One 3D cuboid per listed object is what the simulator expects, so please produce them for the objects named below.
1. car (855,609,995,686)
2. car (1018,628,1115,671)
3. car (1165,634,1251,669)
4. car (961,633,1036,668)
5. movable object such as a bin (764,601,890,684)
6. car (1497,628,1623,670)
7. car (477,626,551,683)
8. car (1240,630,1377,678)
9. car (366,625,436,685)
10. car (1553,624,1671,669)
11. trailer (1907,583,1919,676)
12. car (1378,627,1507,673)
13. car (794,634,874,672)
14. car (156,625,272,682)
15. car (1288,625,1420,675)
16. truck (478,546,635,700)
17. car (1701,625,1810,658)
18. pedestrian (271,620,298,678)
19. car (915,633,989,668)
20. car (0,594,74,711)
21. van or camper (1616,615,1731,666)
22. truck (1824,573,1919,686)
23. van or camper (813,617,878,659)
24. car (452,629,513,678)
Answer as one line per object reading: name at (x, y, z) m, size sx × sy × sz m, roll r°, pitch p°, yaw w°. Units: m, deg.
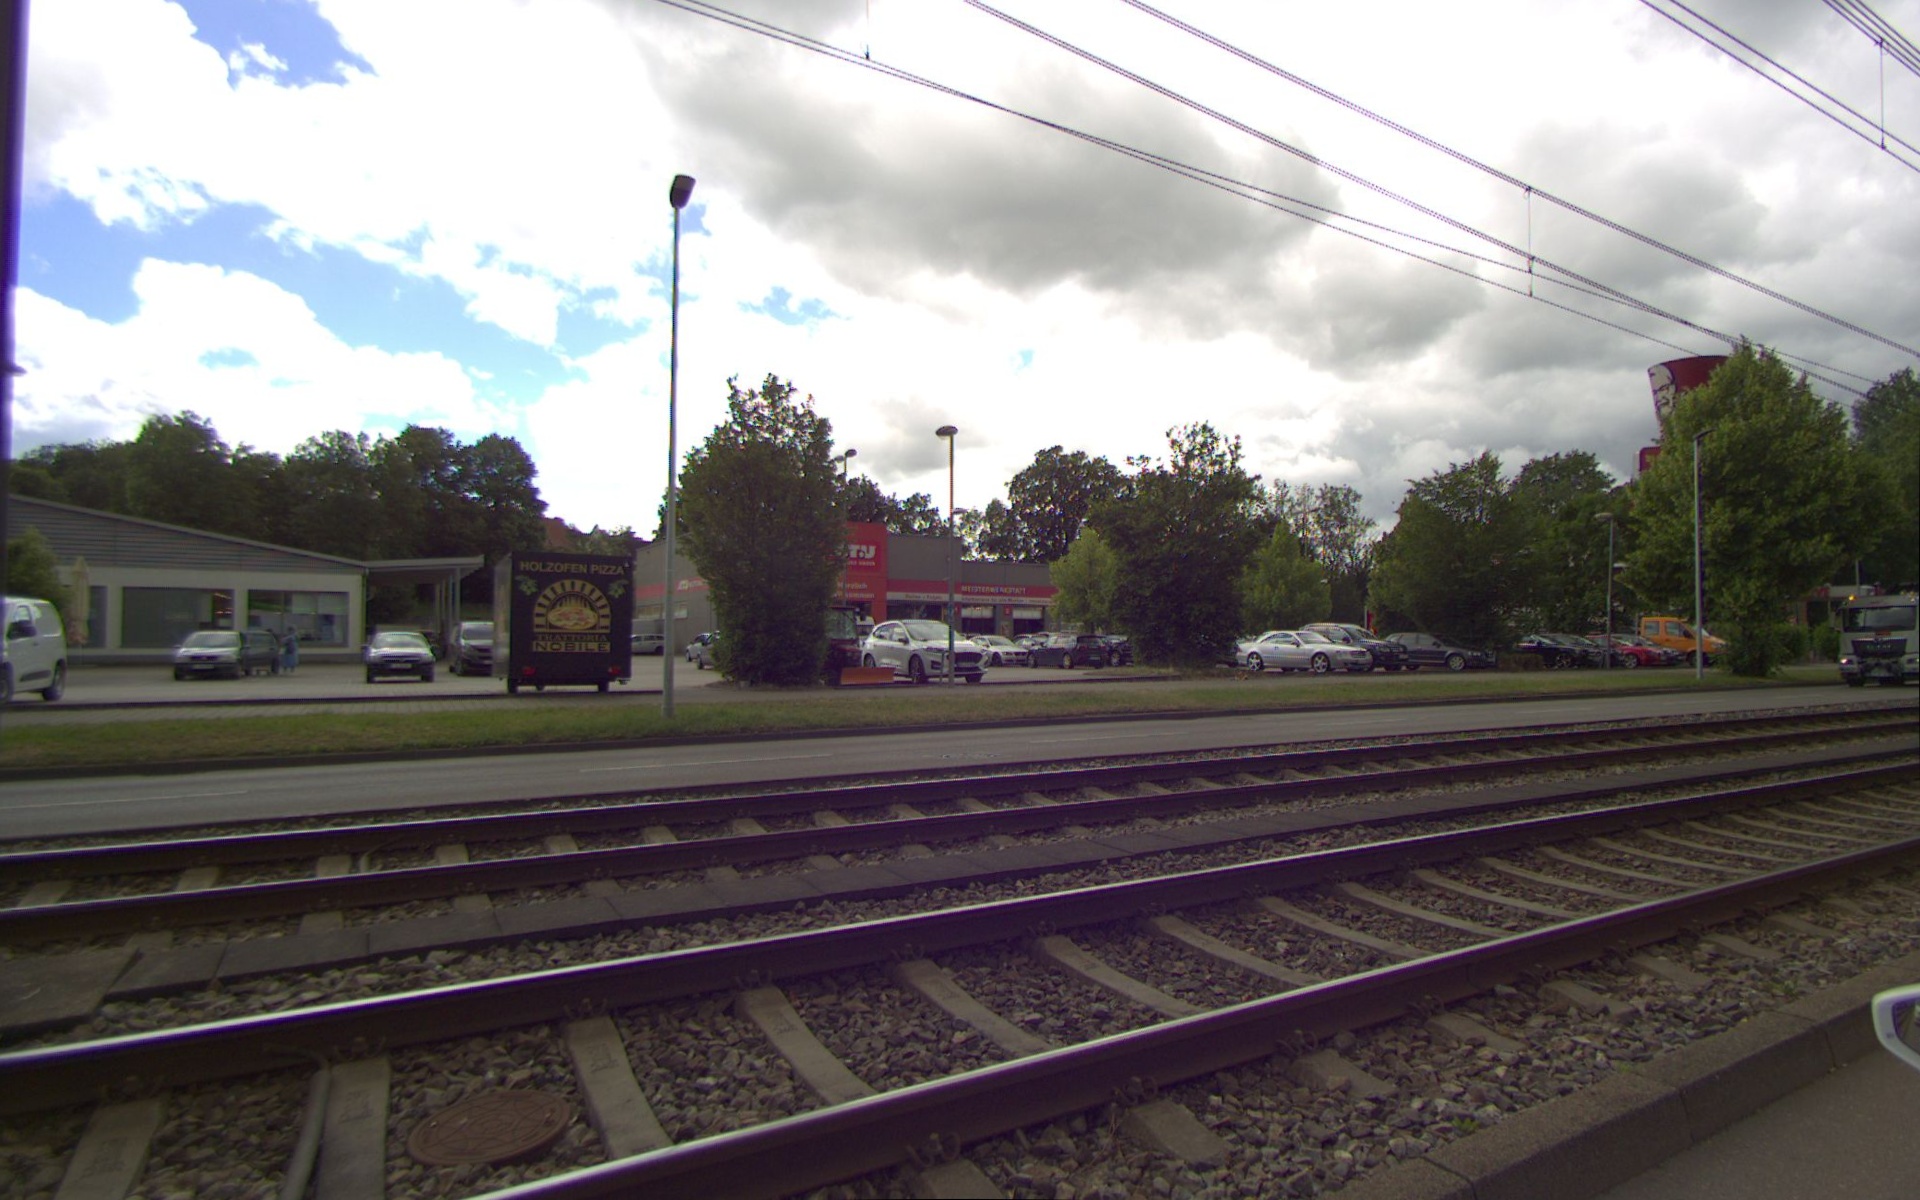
car at (-0.989, 1.209, 26.101) m, size 1.859 × 1.821 × 3.963 m, roll 1°, pitch -2°, yaw -34°
car at (4.447, 2.064, 42.531) m, size 1.917 × 1.706 × 4.265 m, roll 1°, pitch -3°, yaw -31°
car at (11.564, 2.388, 47.032) m, size 1.663 × 1.527 × 3.934 m, roll 1°, pitch -3°, yaw -31°
car at (1.731, 2.317, 46.711) m, size 1.663 × 1.527 × 3.934 m, roll 1°, pitch -3°, yaw -31°
movable object such as a bin at (-3.486, 1.090, 25.745) m, size 1.661 × 1.962 × 3.964 m, roll 1°, pitch -3°, yaw -33°
car at (24.272, 1.974, 40.756) m, size 1.859 × 1.620 × 3.963 m, roll 1°, pitch -2°, yaw -34°
car at (-13.924, 1.675, 31.261) m, size 1.668 × 1.661 × 3.903 m, roll 1°, pitch -3°, yaw -30°
car at (11.555, 1.764, 33.601) m, size 1.662 × 1.491 × 4.284 m, roll 1°, pitch -2°, yaw -32°
car at (-16.501, 1.594, 29.633) m, size 1.668 × 1.661 × 3.903 m, roll 1°, pitch -3°, yaw -30°
car at (28.522, 1.988, 44.026) m, size 1.859 × 1.821 × 3.962 m, roll 1°, pitch -1°, yaw -34°
trailer at (44.105, 1.278, 42.685) m, size 13.158 × 3.708 × 2.689 m, roll 2°, pitch -2°, yaw -34°
car at (17.948, 1.856, 37.507) m, size 1.859 × 1.620 × 3.963 m, roll 1°, pitch -2°, yaw -34°
car at (-5.191, 2.130, 41.066) m, size 1.664 × 1.491 × 3.716 m, roll 1°, pitch -3°, yaw -36°
car at (-23.352, 1.654, 31.628) m, size 2.438 × 1.661 × 3.903 m, roll 1°, pitch -3°, yaw -30°
car at (13.690, 1.715, 35.123) m, size 1.859 × 1.656 × 3.963 m, roll 1°, pitch -2°, yaw -34°
truck at (-8.472, 0.512, 20.908) m, size 2.350 × 2.859 × 3.966 m, roll 1°, pitch -2°, yaw -32°
car at (40.273, 2.086, 50.932) m, size 1.778 × 1.620 × 3.963 m, roll 1°, pitch -2°, yaw -34°
pedestrian at (-22.460, 1.627, 33.410) m, size 0.656 × 1.879 × 0.542 m, roll 1°, pitch -2°, yaw -30°
car at (-0.405, 2.294, 45.939) m, size 1.663 × 1.527 × 3.934 m, roll 1°, pitch -3°, yaw -31°
car at (-16.247, 0.835, 16.362) m, size 1.973 × 1.750 × 4.199 m, roll 1°, pitch -2°, yaw -31°
van or camper at (32.853, 1.827, 46.352) m, size 1.859 × 2.163 × 3.962 m, roll 1°, pitch -1°, yaw -34°
truck at (35.536, 1.111, 36.999) m, size 10.994 × 3.712 × 2.691 m, roll 1°, pitch -2°, yaw -33°
van or camper at (-6.319, 2.097, 55.260) m, size 1.803 × 2.173 × 4.235 m, roll 1°, pitch -3°, yaw -34°
car at (-17.135, 1.880, 35.961) m, size 1.668 × 1.661 × 3.903 m, roll 1°, pitch -3°, yaw -30°
